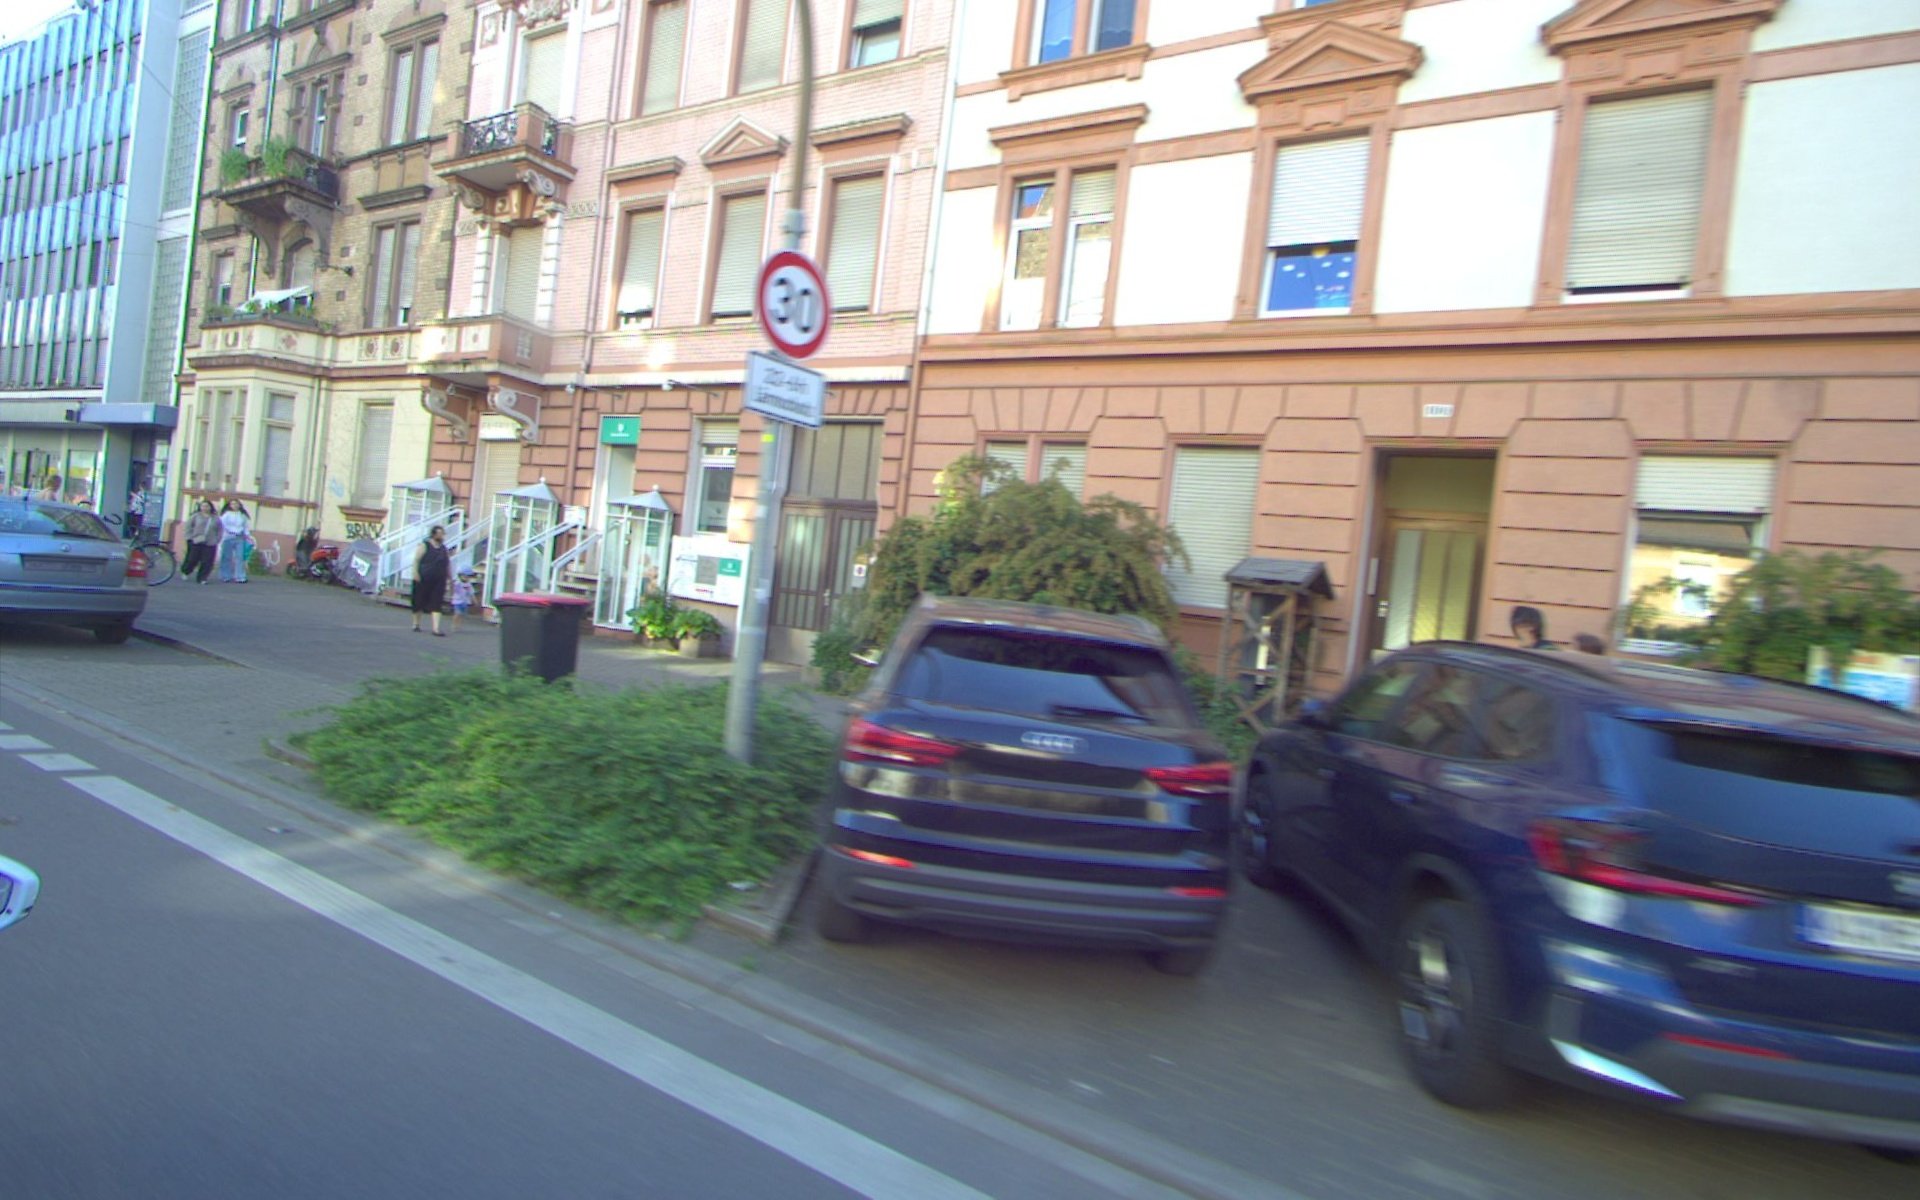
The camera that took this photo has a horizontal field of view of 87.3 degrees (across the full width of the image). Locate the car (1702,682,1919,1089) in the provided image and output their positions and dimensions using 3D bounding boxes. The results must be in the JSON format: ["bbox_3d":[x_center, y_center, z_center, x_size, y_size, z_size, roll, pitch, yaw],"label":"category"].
[{"bbox_3d":[4.912,1.297,3.470,1.922,1.615,4.003,7,-1,7],"label":"car"}]

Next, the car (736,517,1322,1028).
[{"bbox_3d":[0.254,0.674,5.789,1.946,1.615,4.318,7,-1,0],"label":"car"}]

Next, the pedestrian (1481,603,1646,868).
[{"bbox_3d":[4.495,0.975,7.524,0.849,1.800,0.518,7,0,32],"label":"pedestrian"}]

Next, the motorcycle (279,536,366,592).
[{"bbox_3d":[-13.578,-0.776,21.392,2.477,1.005,0.506,6,4,32],"label":"motorcycle"}]

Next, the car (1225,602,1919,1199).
[{"bbox_3d":[2.645,1.008,4.667,2.048,1.615,4.003,7,-1,7],"label":"car"}]

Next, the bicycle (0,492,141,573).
[{"bbox_3d":[-16.785,-1.247,18.856,0.653,1.236,2.022,7,-1,31],"label":"bicycle"}]

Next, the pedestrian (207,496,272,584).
[{"bbox_3d":[-14.369,-1.183,20.077,0.643,1.626,0.713,7,0,31],"label":"pedestrian"}]

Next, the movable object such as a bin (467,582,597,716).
[{"bbox_3d":[-3.702,0.420,8.715,0.792,1.040,0.605,7,1,32],"label":"movable object such as a bin"}]

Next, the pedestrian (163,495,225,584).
[{"bbox_3d":[-14.740,-1.154,19.366,0.643,1.629,0.712,7,3,31],"label":"pedestrian"}]

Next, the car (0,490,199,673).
[{"bbox_3d":[-10.363,-0.347,10.791,4.641,1.615,1.876,6,-1,32],"label":"car"}]

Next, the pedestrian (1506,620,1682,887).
[{"bbox_3d":[4.401,1.032,7.025,0.849,1.668,0.518,7,0,32],"label":"pedestrian"}]

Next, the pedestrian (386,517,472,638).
[{"bbox_3d":[-7.659,-0.315,14.512,0.643,1.626,0.713,7,0,31],"label":"pedestrian"}]

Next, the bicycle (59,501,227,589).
[{"bbox_3d":[-13.886,-0.908,17.166,0.652,1.236,2.059,7,0,29],"label":"bicycle"}]

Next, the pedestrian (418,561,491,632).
[{"bbox_3d":[-7.677,-0.051,15.288,0.643,0.994,0.712,7,3,31],"label":"pedestrian"}]

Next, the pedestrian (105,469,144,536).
[{"bbox_3d":[-24.477,-2.851,29.464,0.721,1.828,0.713,7,0,-41],"label":"pedestrian"}]

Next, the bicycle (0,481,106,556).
[{"bbox_3d":[-18.500,-1.659,19.843,0.653,1.236,2.360,7,-1,34],"label":"bicycle"}]

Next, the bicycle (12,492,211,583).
[{"bbox_3d":[-14.943,-1.073,17.833,0.653,1.236,2.543,7,-1,31],"label":"bicycle"}]

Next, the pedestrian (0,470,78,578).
[{"bbox_3d":[-15.090,-1.237,16.446,0.643,1.626,0.713,7,0,31],"label":"pedestrian"}]
